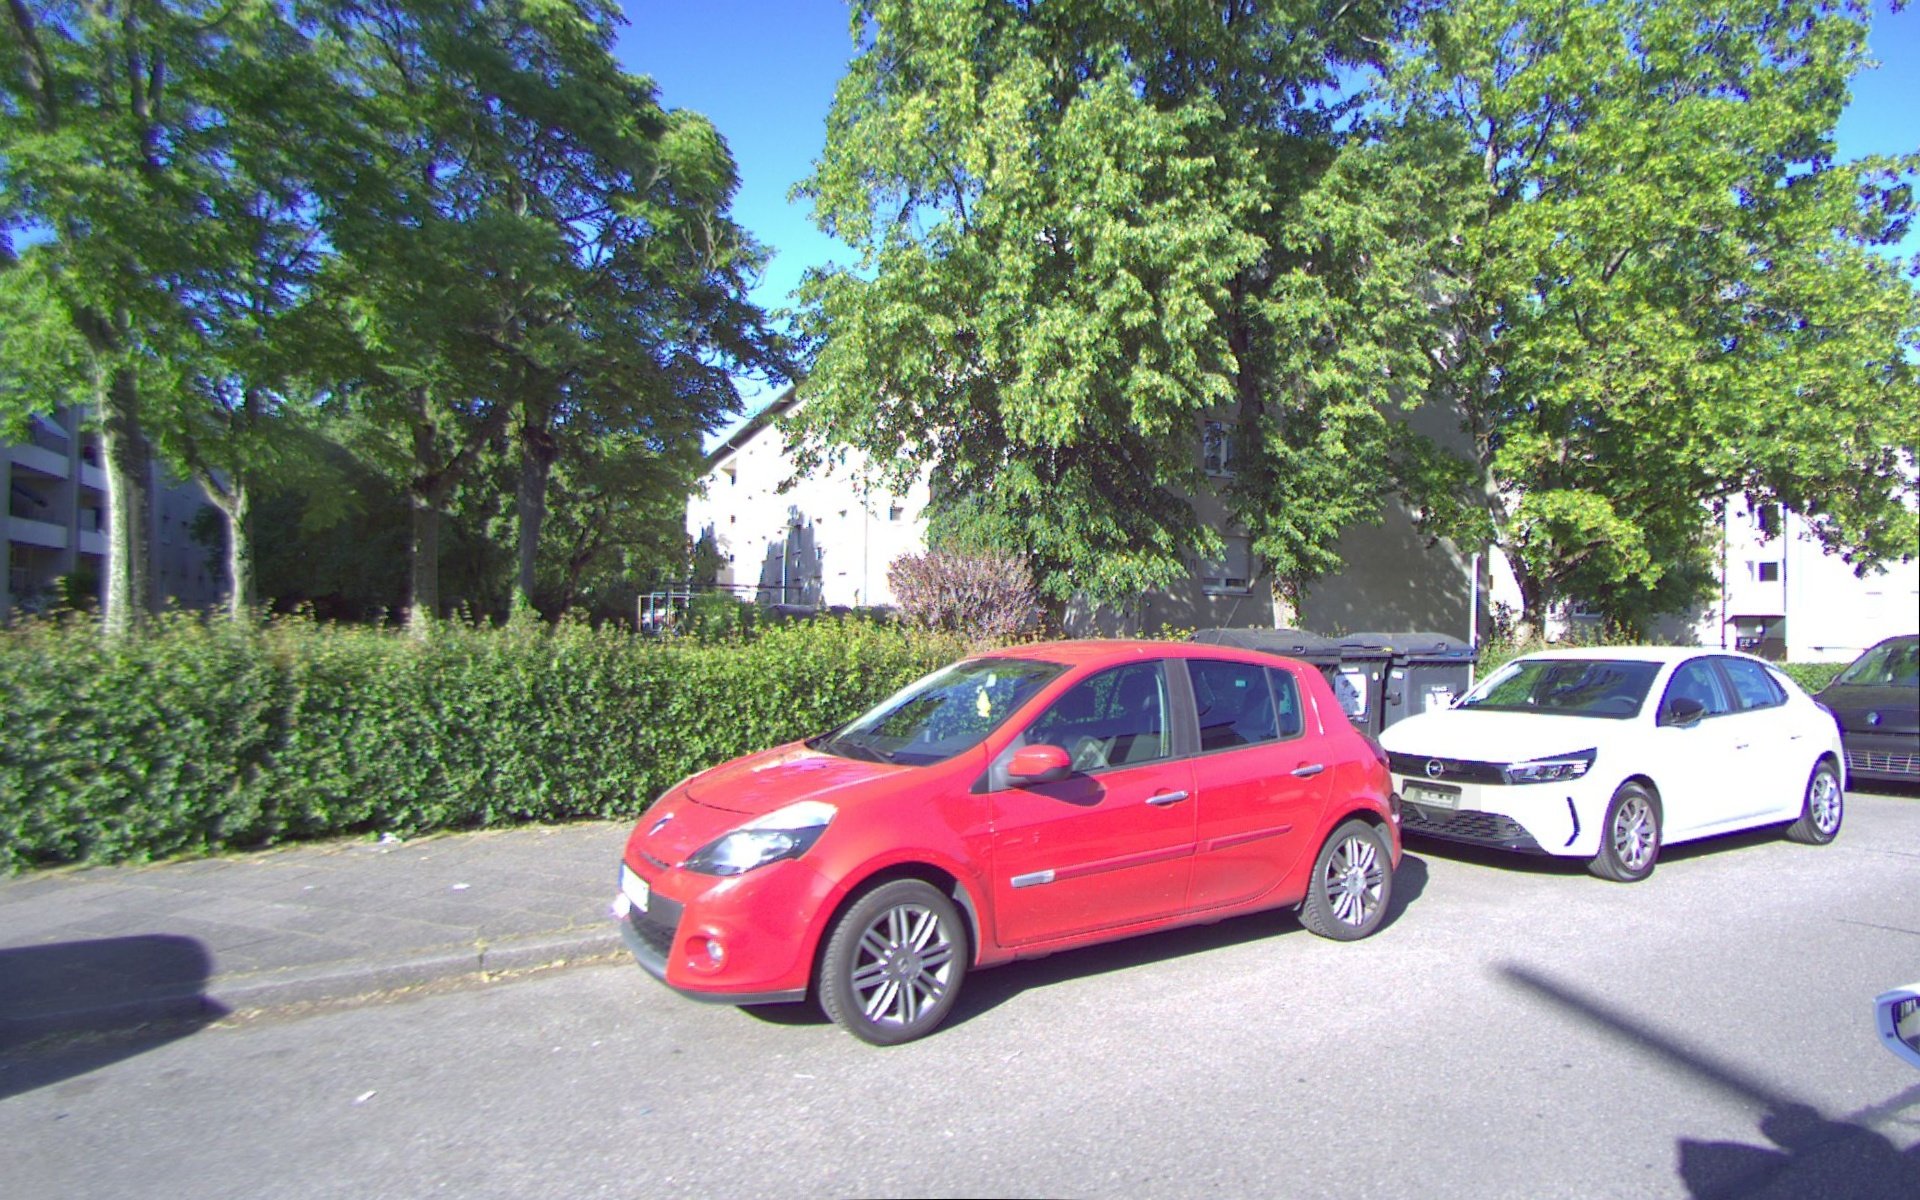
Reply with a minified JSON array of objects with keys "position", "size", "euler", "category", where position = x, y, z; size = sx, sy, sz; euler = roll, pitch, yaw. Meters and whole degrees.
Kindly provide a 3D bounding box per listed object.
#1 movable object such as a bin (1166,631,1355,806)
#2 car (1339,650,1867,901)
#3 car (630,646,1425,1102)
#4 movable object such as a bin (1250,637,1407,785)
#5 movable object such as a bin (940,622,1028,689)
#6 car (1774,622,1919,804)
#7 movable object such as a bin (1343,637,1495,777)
[{"position":[2.878,1.061,9.656],"size":[1.393,1.518,1.105],"euler":[1,-1,-32],"category":"movable object such as a bin"},{"position":[4.842,1.097,7.493],"size":[3.853,1.440,1.664],"euler":[1,-3,-28],"category":"car"},{"position":[0.415,0.978,4.974],"size":[3.636,1.493,1.662],"euler":[2,-3,-31],"category":"car"},{"position":[3.921,1.126,10.705],"size":[1.300,1.437,0.982],"euler":[1,-1,-32],"category":"movable object such as a bin"},{"position":[0.519,1.183,21.808],"size":[1.476,1.407,1.288],"euler":[1,-2,-28],"category":"movable object such as a bin"},{"position":[10.717,1.114,10.640],"size":[4.350,1.688,1.664],"euler":[1,-3,-28],"category":"car"},{"position":[5.140,1.149,11.265],"size":[1.299,1.437,0.983],"euler":[1,-1,-30],"category":"movable object such as a bin"}]
